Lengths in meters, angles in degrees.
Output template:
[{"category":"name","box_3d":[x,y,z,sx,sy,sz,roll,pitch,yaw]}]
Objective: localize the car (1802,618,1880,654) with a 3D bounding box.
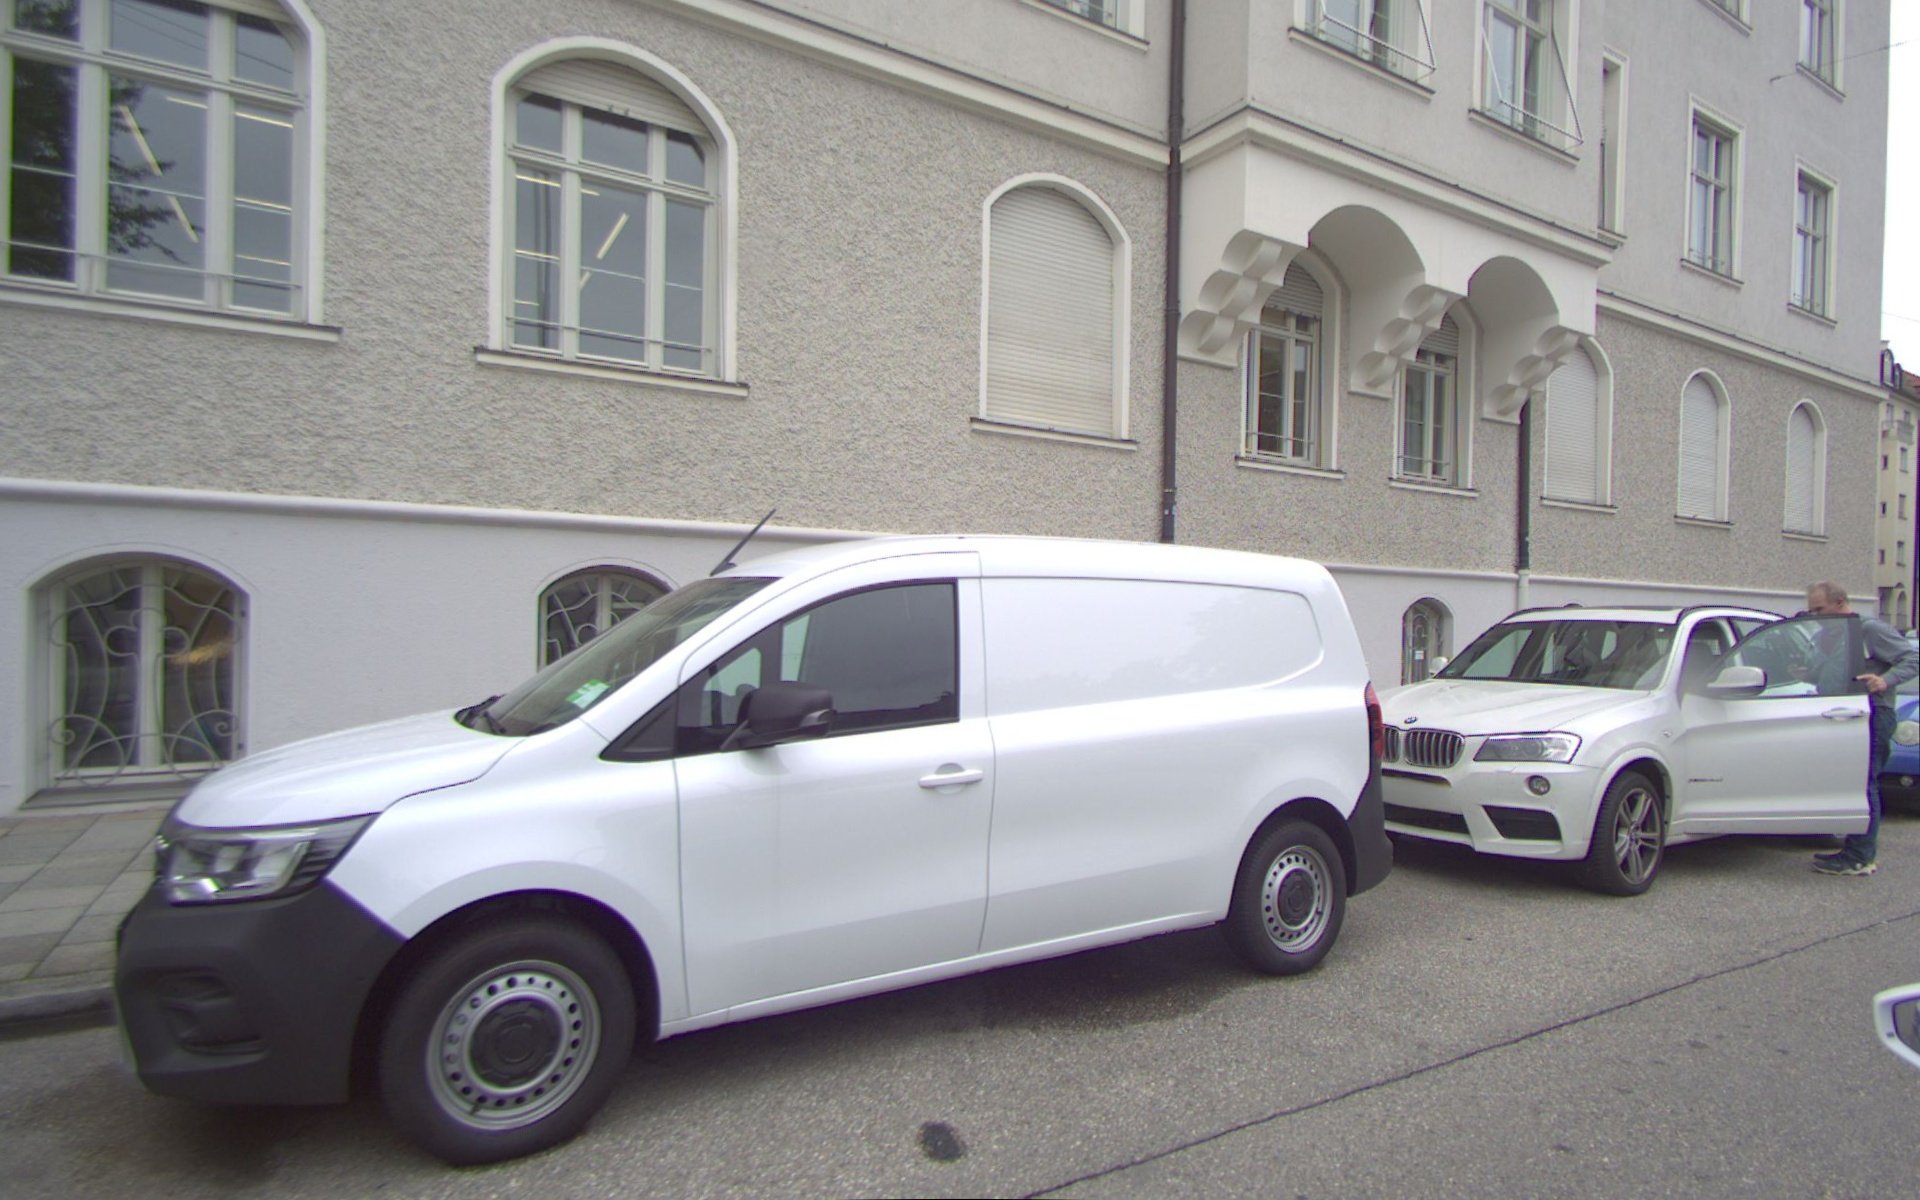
[{"category":"car","box_3d":[46.211,1.897,52.665,4.791,1.723,1.963,2,1,-35]}]

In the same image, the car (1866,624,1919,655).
[{"category":"car","box_3d":[54.790,2.293,58.639,4.669,1.637,1.961,2,1,-37]}]

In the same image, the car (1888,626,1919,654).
[{"category":"car","box_3d":[58.760,2.470,61.396,4.360,1.602,1.964,2,1,-33]}]

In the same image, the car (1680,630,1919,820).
[{"category":"car","box_3d":[8.419,1.036,9.481,3.630,1.433,1.679,2,-1,-38]}]

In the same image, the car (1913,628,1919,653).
[{"category":"car","box_3d":[63.014,2.644,64.228,4.360,1.602,1.964,2,1,-33]}]

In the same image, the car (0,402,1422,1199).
[{"category":"car","box_3d":[-0.461,0.555,4.086,4.978,1.812,1.738,2,-1,-31]}]

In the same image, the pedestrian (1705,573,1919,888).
[{"category":"pedestrian","box_3d":[5.377,0.746,6.321,0.947,1.779,0.875,2,1,30]}]

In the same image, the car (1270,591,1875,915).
[{"category":"car","box_3d":[4.358,0.829,6.940,4.446,1.623,1.738,2,-1,-31]}]
